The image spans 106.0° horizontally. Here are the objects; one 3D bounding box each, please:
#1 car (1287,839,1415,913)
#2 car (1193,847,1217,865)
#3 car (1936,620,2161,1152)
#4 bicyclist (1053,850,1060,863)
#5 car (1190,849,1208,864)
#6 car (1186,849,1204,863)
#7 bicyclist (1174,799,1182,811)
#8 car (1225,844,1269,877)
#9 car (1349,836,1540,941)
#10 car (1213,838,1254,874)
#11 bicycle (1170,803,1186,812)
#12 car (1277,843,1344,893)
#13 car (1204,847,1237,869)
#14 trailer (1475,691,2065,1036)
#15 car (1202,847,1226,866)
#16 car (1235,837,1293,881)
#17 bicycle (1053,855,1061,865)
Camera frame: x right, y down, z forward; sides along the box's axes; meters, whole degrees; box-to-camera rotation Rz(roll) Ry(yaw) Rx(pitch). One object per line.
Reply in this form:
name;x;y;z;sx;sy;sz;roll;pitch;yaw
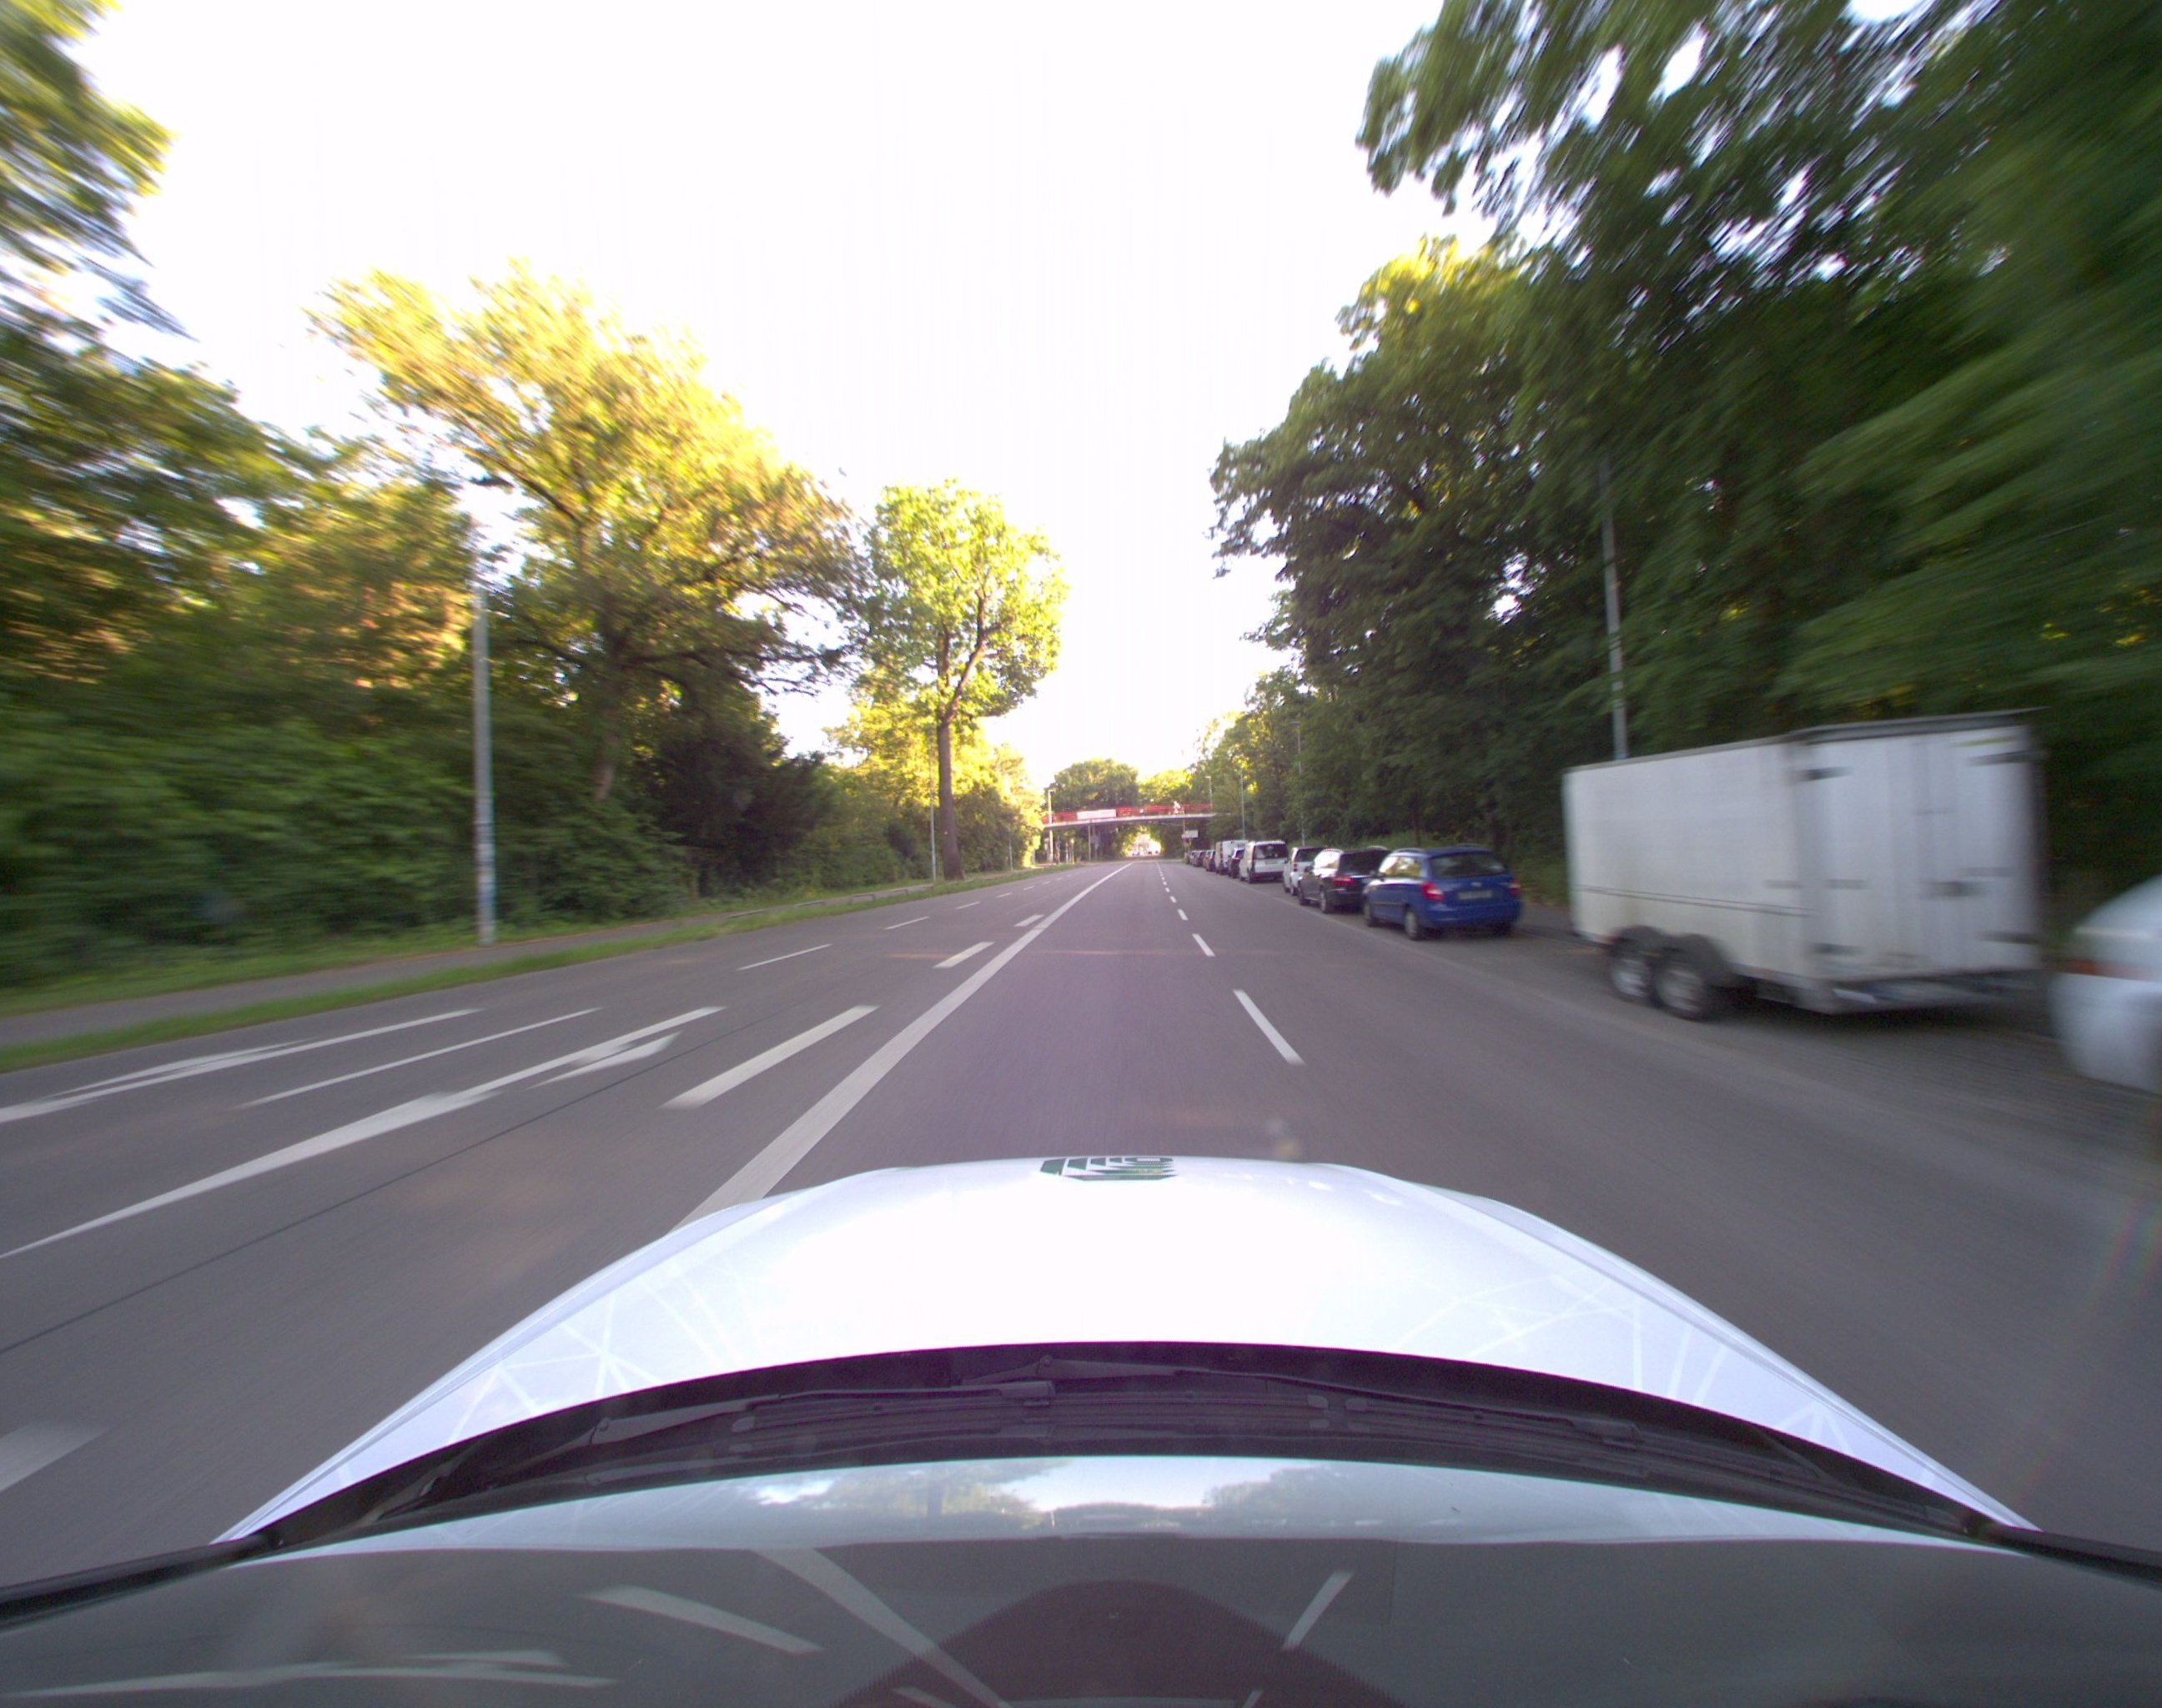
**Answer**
car;6.578;0.496;20.439;1.751;1.535;4.993;-3;0;3
car;10.969;0.155;72.289;1.630;1.453;4.902;-3;0;3
car;5.760;0.108;1.845;1.896;2.423;5.580;-3;0;3
bicyclist;-2.936;0.350;99.461;0.709;1.559;1.144;-1;-1;4
car;12.344;0.229;85.164;1.764;1.453;4.023;-3;0;8
car;12.497;0.206;89.581;1.765;1.453;4.394;-3;0;6
bicyclist;12.362;-6.277;104.225;0.966;1.586;0.715;-1;-1;3
car;8.732;0.327;43.232;1.750;1.547;4.435;-3;0;5
car;6.285;0.537;14.671;1.670;1.535;4.357;-3;0;3
car;9.191;0.098;49.550;1.860;1.981;5.482;-3;0;5
bicycle;12.352;-5.952;104.215;1.979;1.147;0.715;-1;-1;3
car;7.561;0.433;27.080;1.578;1.495;3.186;-3;0;6
car;9.596;0.269;56.137;1.860;1.406;4.375;-3;0;5
trailer;6.229;0.083;8.479;1.896;2.423;5.130;-3;0;3
car;10.749;0.200;65.915;1.578;1.453;3.949;-3;0;6
car;8.211;0.231;36.918;1.751;1.804;4.742;-3;0;3
bicycle;-2.938;0.766;99.456;0.709;1.147;1.996;-1;-1;5
